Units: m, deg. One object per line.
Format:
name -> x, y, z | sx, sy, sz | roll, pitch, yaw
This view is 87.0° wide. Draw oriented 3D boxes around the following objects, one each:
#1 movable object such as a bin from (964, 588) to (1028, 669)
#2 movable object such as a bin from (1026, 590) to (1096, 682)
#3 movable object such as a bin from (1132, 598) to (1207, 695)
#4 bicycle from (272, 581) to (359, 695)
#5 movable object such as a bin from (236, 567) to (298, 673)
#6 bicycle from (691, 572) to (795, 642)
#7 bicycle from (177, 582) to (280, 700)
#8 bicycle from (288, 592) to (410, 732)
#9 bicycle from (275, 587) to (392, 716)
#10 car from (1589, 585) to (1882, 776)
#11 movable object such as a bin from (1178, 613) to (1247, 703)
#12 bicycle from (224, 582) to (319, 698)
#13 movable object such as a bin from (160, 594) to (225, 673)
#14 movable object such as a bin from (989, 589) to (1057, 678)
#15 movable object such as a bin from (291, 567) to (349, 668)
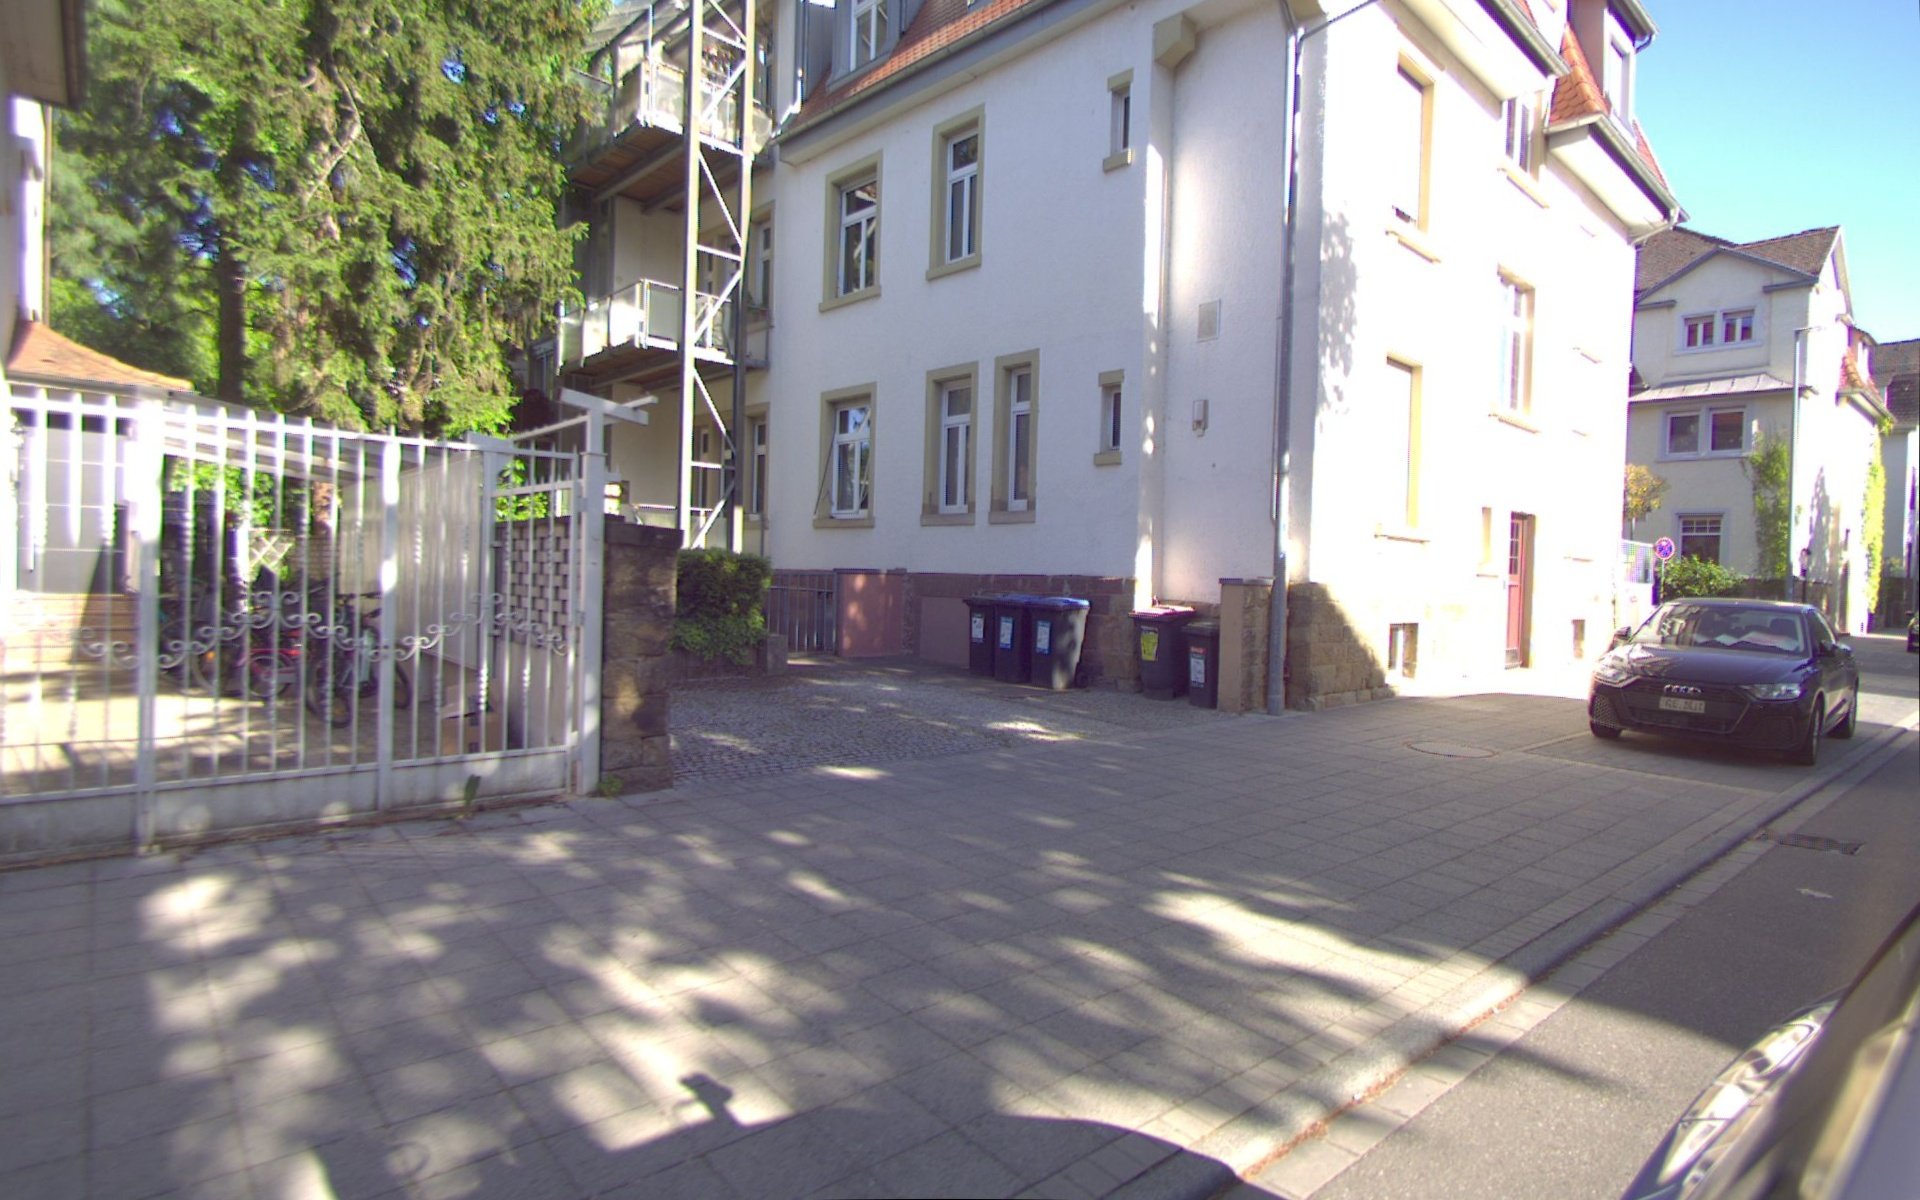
movable object such as a bin -> 0.472, 0.361, 13.177 | 0.644, 1.015, 0.518 | -1, 1, -44
movable object such as a bin -> 1.224, 0.418, 12.233 | 0.644, 1.063, 0.556 | -1, 1, -44
movable object such as a bin -> 2.443, 0.519, 11.781 | 0.685, 1.076, 0.556 | -1, 1, -44
bicycle -> -6.412, 0.337, 10.128 | 0.306, 1.000, 1.552 | -1, 3, -17
movable object such as a bin -> -7.882, 0.214, 11.507 | 0.498, 1.165, 0.555 | -1, 1, -41
bicycle -> -3.458, 0.084, 16.052 | 1.900, 1.013, 0.360 | 2, 3, 32
bicycle -> -7.033, 0.352, 9.783 | 0.306, 1.000, 1.552 | -1, 3, -18
bicycle -> -5.115, 0.472, 8.551 | 0.306, 0.999, 1.551 | -1, 3, -9
bicycle -> -5.617, 0.420, 9.152 | 0.306, 0.999, 1.551 | -1, 3, -9
car -> 7.901, 0.644, 10.184 | 3.868, 1.457, 1.623 | 0, 4, -43
movable object such as a bin -> 2.836, 0.632, 11.363 | 0.642, 0.948, 0.486 | -1, 1, -44
bicycle -> -6.707, 0.348, 9.915 | 0.306, 1.000, 1.552 | -1, 3, -18
movable object such as a bin -> -8.135, 0.340, 10.727 | 0.498, 0.797, 0.555 | -1, 1, -41
movable object such as a bin -> 0.784, 0.401, 12.660 | 0.644, 1.057, 0.553 | -1, 1, -44
movable object such as a bin -> -7.641, 0.200, 12.079 | 0.498, 1.165, 0.555 | -1, 1, -41
